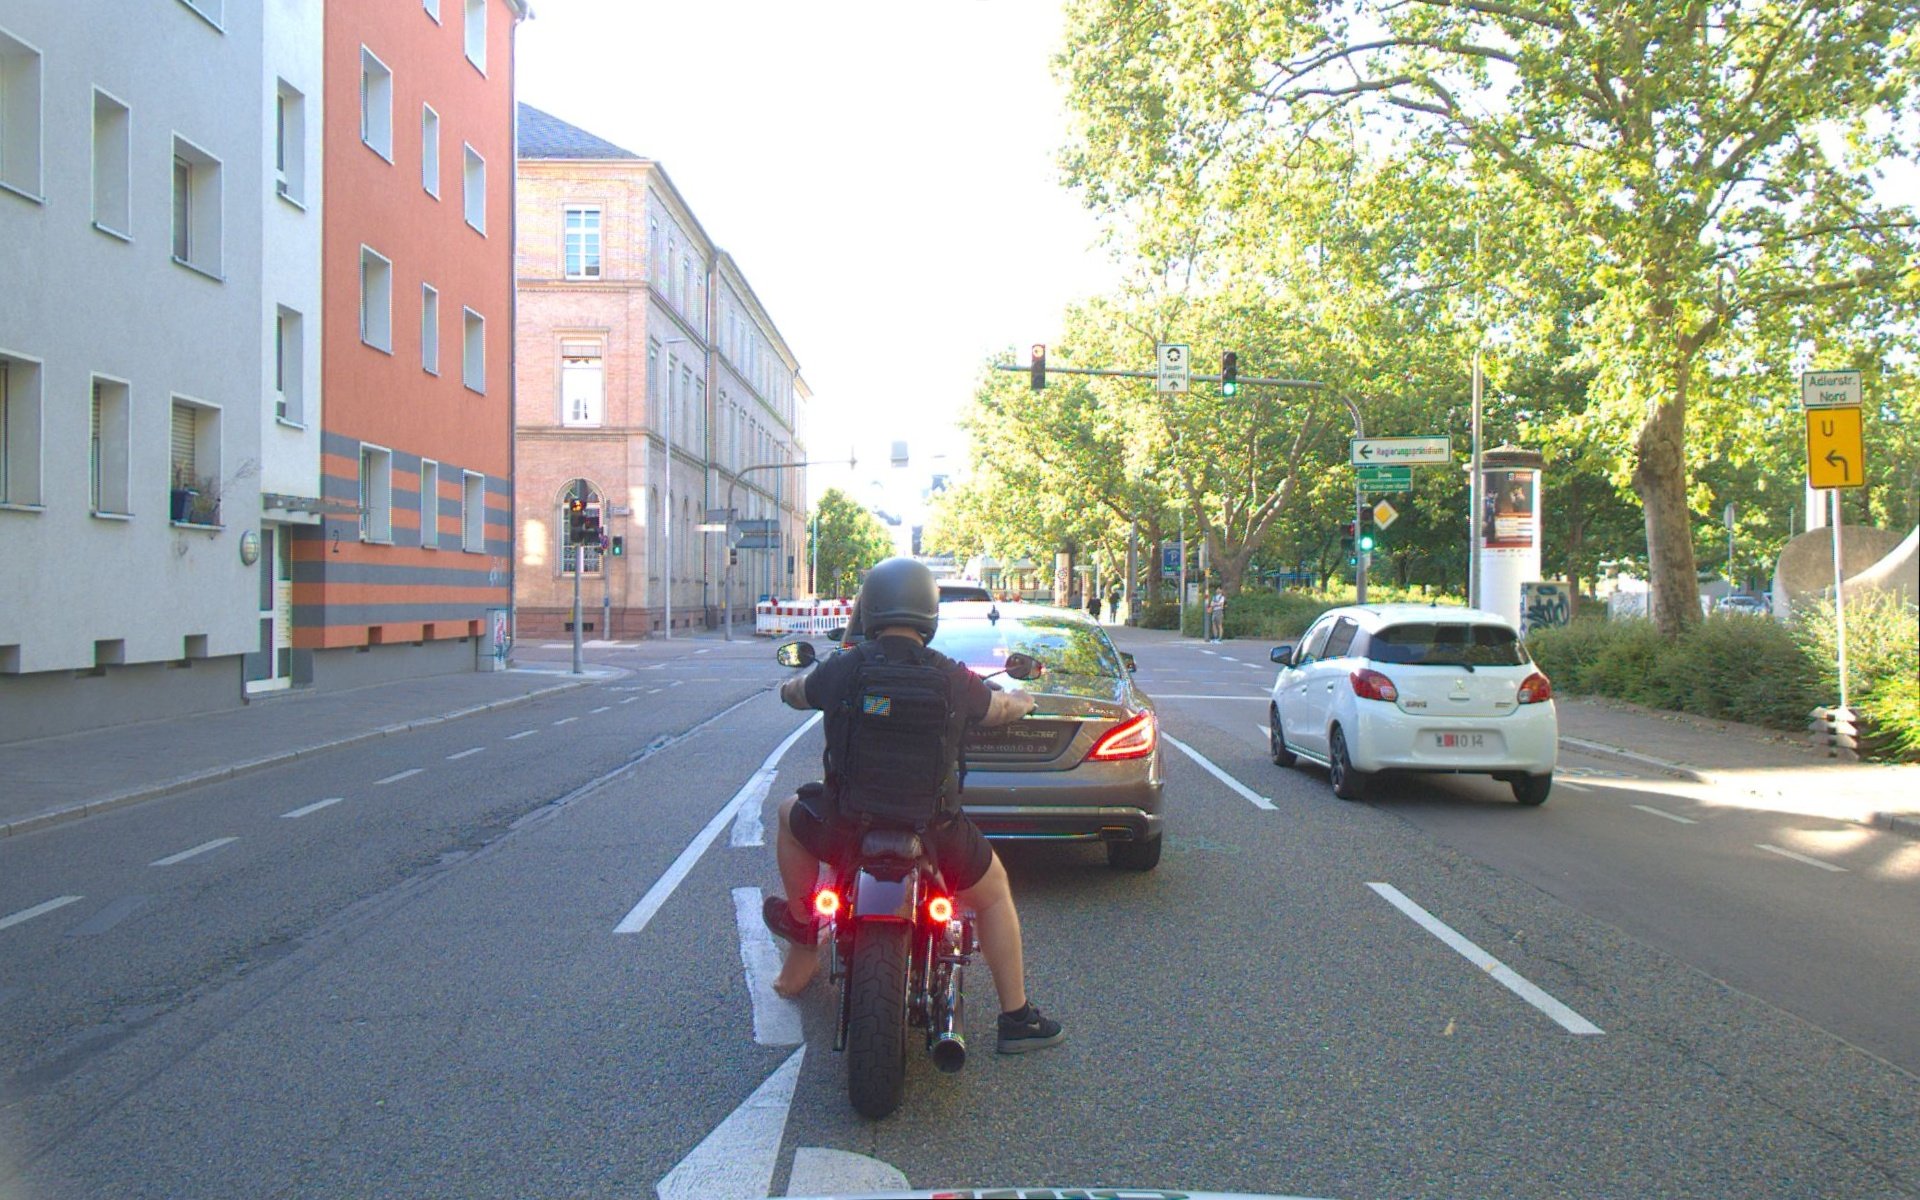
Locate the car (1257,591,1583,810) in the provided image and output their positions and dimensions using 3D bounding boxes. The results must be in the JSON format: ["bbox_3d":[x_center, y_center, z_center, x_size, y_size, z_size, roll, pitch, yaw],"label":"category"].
[{"bbox_3d":[3.650,0.728,13.756,1.645,1.524,3.685,2,0,0],"label":"car"}]

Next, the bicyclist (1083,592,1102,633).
[{"bbox_3d":[5.184,0.476,64.713,0.643,1.557,0.852,2,0,-1],"label":"bicyclist"}]

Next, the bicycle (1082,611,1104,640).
[{"bbox_3d":[5.184,0.973,64.628,0.643,1.089,1.926,2,0,-1],"label":"bicycle"}]

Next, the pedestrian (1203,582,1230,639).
[{"bbox_3d":[8.285,0.347,53.438,0.566,1.805,0.618,2,-1,-35],"label":"pedestrian"}]

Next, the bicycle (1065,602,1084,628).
[{"bbox_3d":[5.143,0.650,74.330,0.643,1.131,2.185,2,0,-1],"label":"bicycle"}]

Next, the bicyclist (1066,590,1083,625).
[{"bbox_3d":[5.153,0.325,74.318,0.643,1.557,0.906,2,0,-1],"label":"bicyclist"}]

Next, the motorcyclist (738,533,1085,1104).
[{"bbox_3d":[-0.150,0.620,5.434,0.991,1.630,1.406,0,0,-1],"label":"motorcyclist"}]

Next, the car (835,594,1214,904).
[{"bbox_3d":[0.277,0.705,9.784,1.791,1.445,3.814,1,0,-1],"label":"car"}]

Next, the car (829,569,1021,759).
[{"bbox_3d":[-0.458,0.585,16.880,1.599,1.679,3.845,2,0,-6],"label":"car"}]

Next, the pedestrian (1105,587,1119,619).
[{"bbox_3d":[7.705,0.167,83.765,0.580,1.606,0.527,2,0,-1],"label":"pedestrian"}]

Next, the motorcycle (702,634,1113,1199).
[{"bbox_3d":[-0.148,0.808,5.328,0.991,1.329,2.672,0,0,-1],"label":"motorcycle"}]
